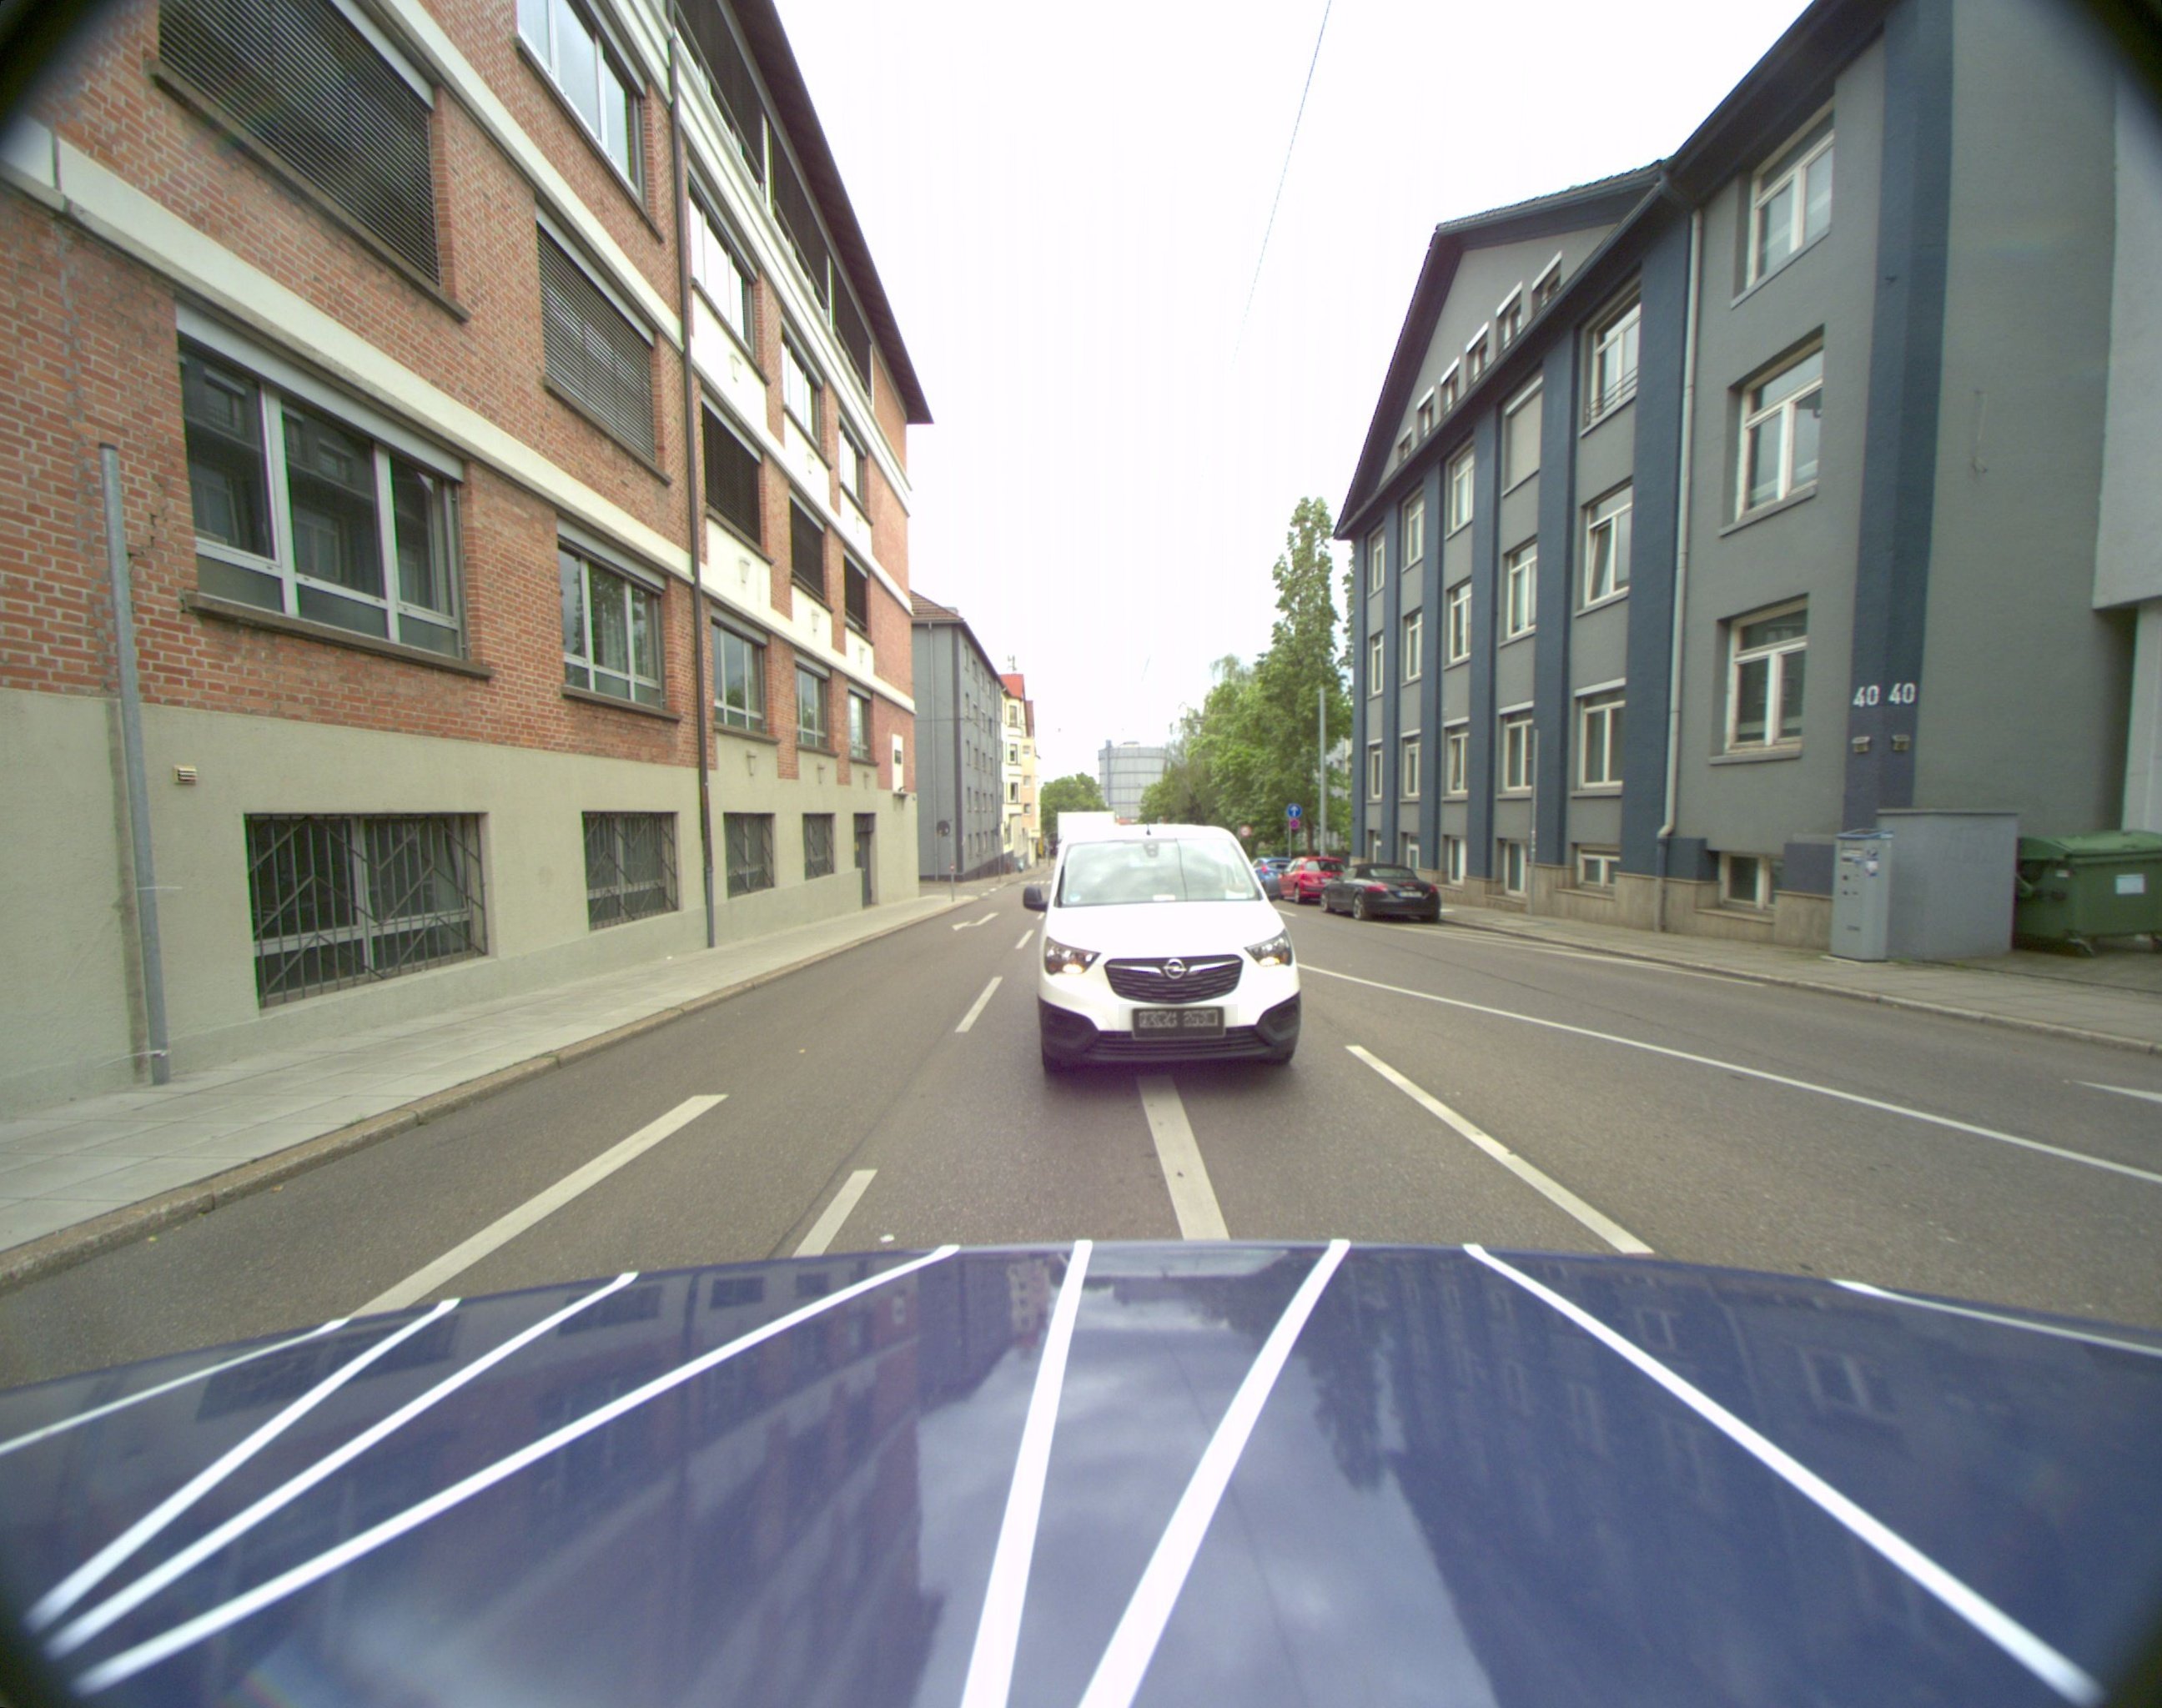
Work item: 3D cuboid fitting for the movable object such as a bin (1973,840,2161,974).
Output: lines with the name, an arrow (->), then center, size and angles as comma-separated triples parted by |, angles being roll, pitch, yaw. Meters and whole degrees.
movable object such as a bin -> 12.054, 0.600, 9.214 | 1.229, 1.498, 1.040 | -2, 1, 1

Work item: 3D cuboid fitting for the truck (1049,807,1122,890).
truck -> 0.247, -0.271, 36.592 | 2.969, 3.409, 8.879 | -2, 1, 1

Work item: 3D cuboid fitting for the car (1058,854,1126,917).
car -> 0.311, 0.830, 21.892 | 1.739, 1.519, 3.999 | -2, 1, 1

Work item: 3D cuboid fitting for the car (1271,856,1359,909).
car -> 7.395, 0.847, 24.351 | 1.644, 1.441, 3.729 | -2, 1, 1

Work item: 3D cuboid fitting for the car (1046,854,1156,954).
car -> 0.349, 0.819, 14.400 | 1.739, 1.519, 3.999 | -2, 1, 1

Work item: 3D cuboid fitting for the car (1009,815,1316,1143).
car -> 0.510, 0.721, 6.483 | 1.739, 1.875, 3.999 | -2, 1, 1

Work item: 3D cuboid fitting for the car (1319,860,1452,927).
car -> 7.230, 0.883, 18.455 | 1.801, 1.384, 3.729 | 0, 1, 1

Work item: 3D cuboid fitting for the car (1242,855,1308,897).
car -> 7.518, 0.811, 29.825 | 1.644, 1.441, 3.729 | -2, 1, 1
